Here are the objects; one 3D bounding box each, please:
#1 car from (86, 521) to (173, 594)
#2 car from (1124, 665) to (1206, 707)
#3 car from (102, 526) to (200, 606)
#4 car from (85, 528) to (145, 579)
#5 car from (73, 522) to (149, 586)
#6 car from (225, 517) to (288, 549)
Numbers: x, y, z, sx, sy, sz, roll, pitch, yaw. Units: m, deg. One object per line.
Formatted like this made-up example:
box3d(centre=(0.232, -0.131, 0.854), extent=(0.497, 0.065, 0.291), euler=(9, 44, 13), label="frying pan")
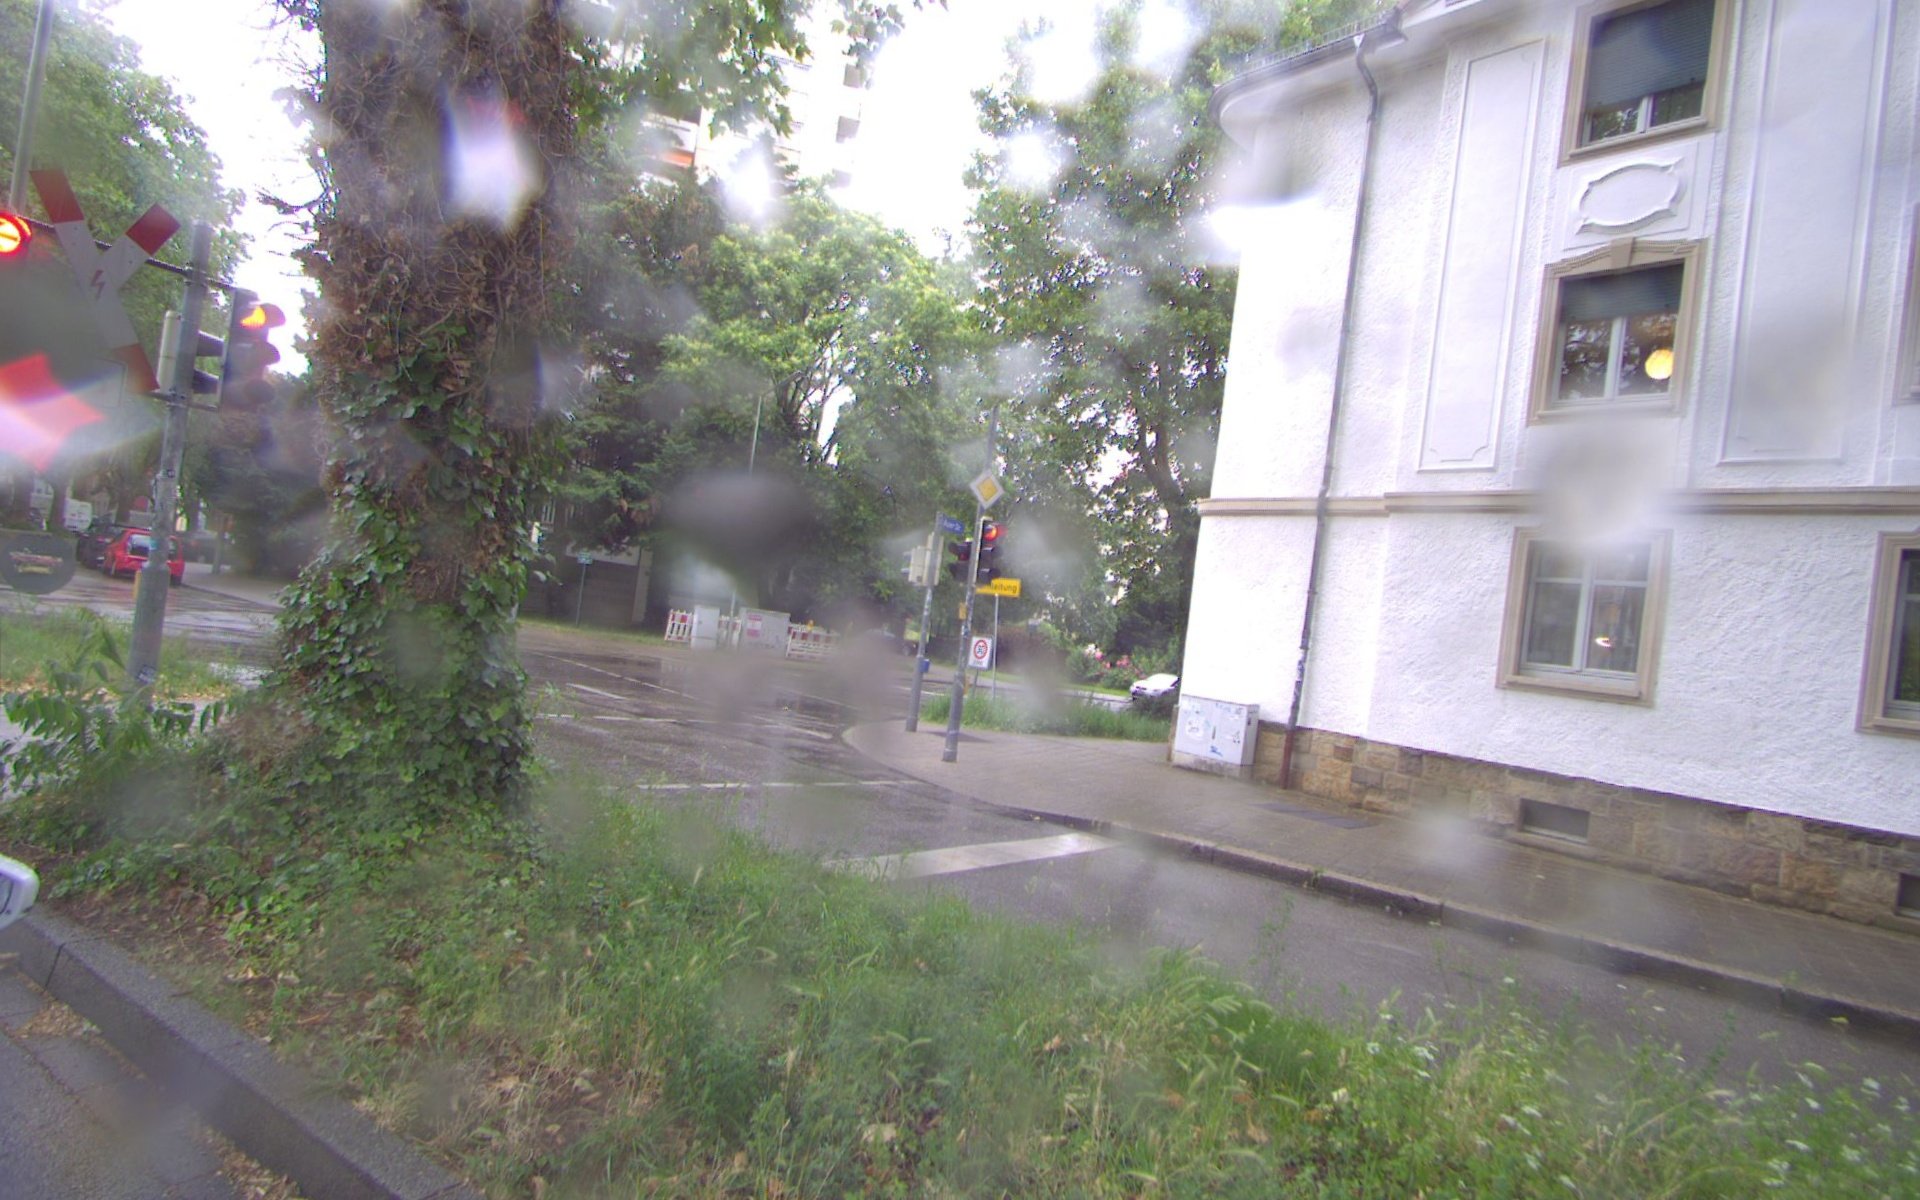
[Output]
box3d(centre=(-27.987, -1.447, 33.855), extent=(1.986, 2.038, 3.953), euler=(7, 0, -42), label="car")
box3d(centre=(9.329, 3.915, 45.664), extent=(3.630, 1.504, 1.704), euler=(8, 0, -43), label="car")
box3d(centre=(-24.782, -1.075, 30.768), extent=(1.986, 2.038, 3.953), euler=(7, 0, -42), label="car")
box3d(centre=(-40.726, -2.267, 48.463), extent=(1.986, 2.038, 3.953), euler=(7, 0, -42), label="car")
box3d(centre=(-32.911, -1.808, 38.961), extent=(1.986, 2.038, 3.953), euler=(7, 0, -42), label="car")
box3d(centre=(-57.170, -5.452, 81.813), extent=(3.969, 2.038, 1.689), euler=(7, 0, -39), label="car")
